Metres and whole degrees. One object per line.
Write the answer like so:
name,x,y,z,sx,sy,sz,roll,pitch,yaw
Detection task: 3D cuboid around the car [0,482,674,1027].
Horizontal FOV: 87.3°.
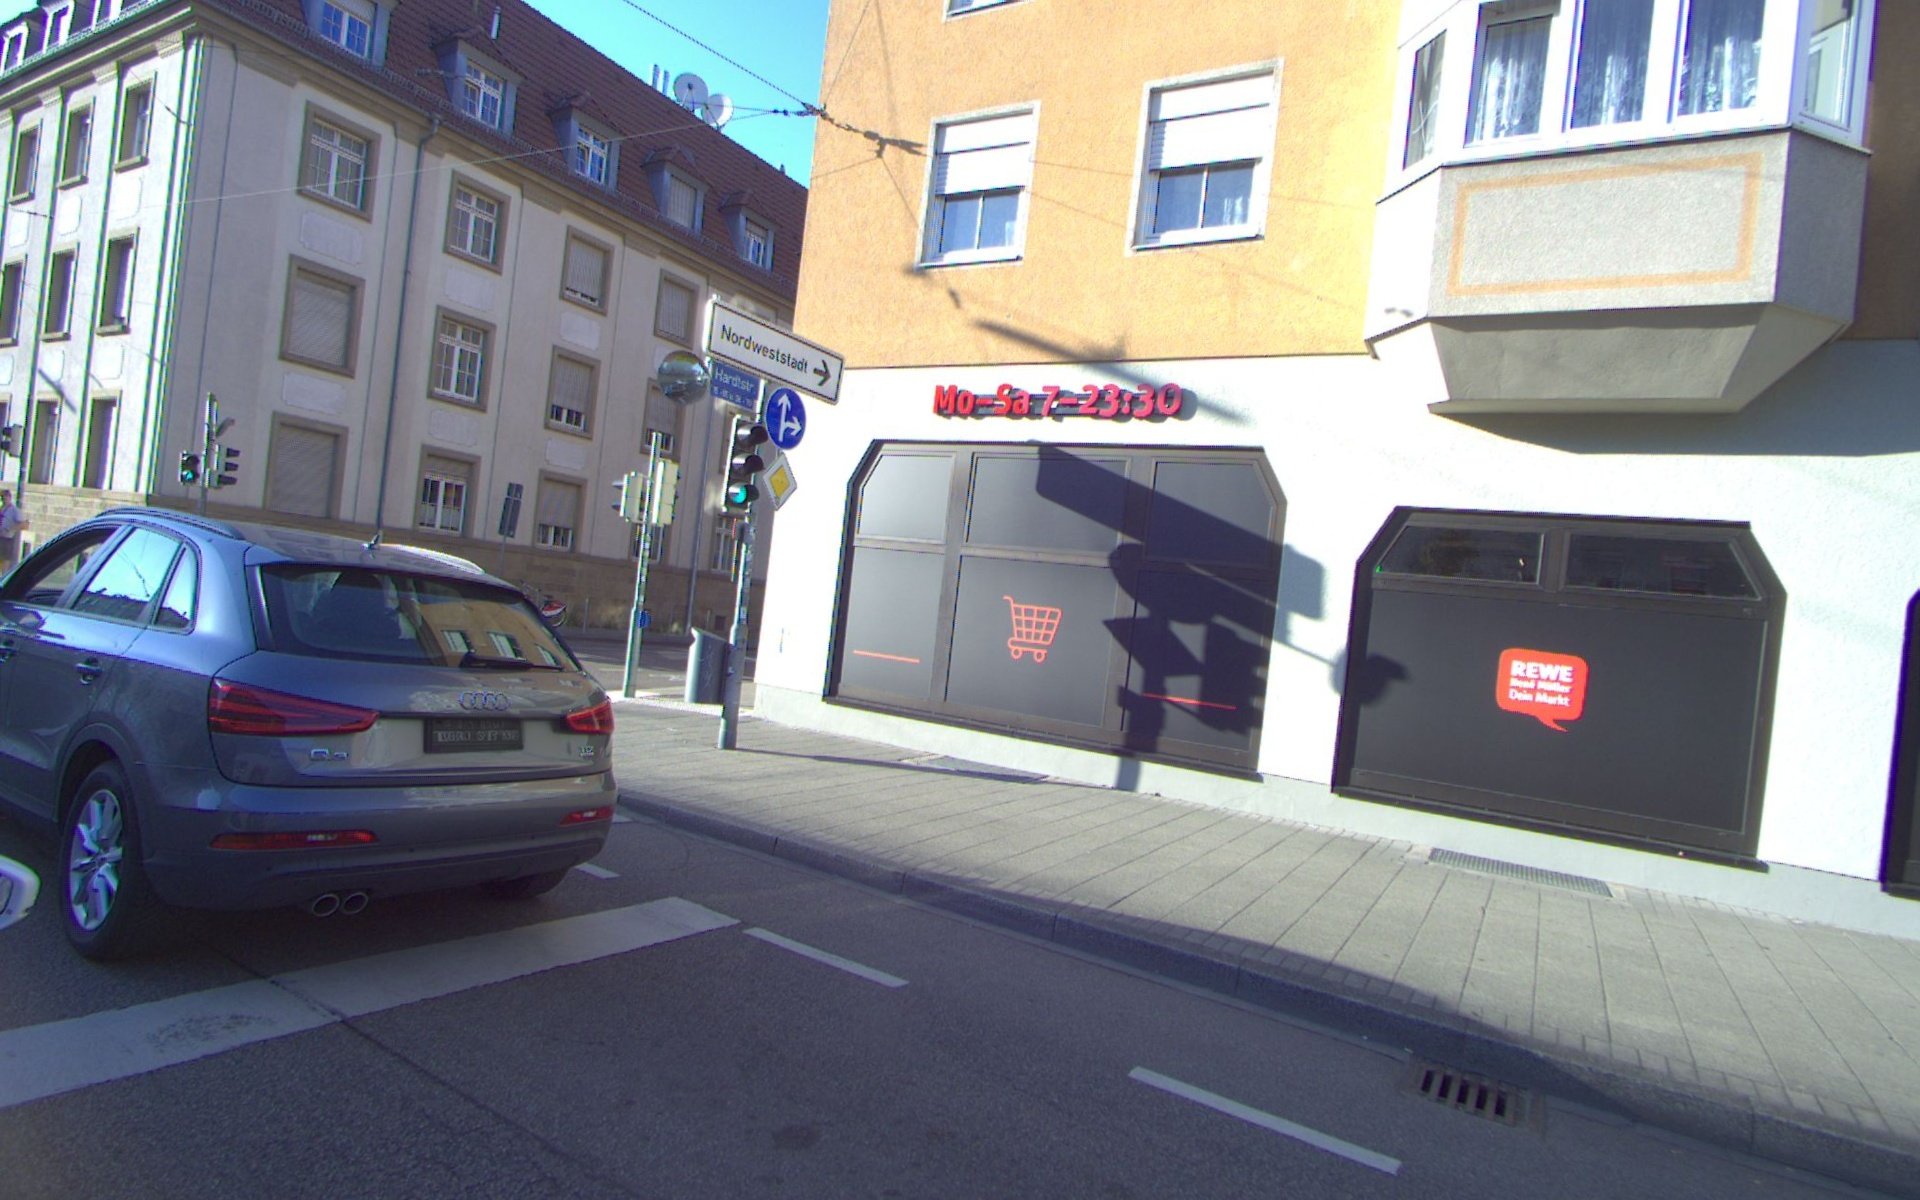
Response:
car,-3.529,0.399,4.824,4.157,1.570,1.701,6,-3,33

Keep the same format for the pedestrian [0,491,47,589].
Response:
pedestrian,-18.268,-1.165,19.249,0.810,1.782,0.837,5,-2,31

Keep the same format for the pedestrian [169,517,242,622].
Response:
pedestrian,-13.626,-0.548,18.166,0.812,1.778,0.630,5,-2,31

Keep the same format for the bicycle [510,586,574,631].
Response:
bicycle,-11.210,0.240,27.014,1.499,1.029,0.247,9,-3,-43
